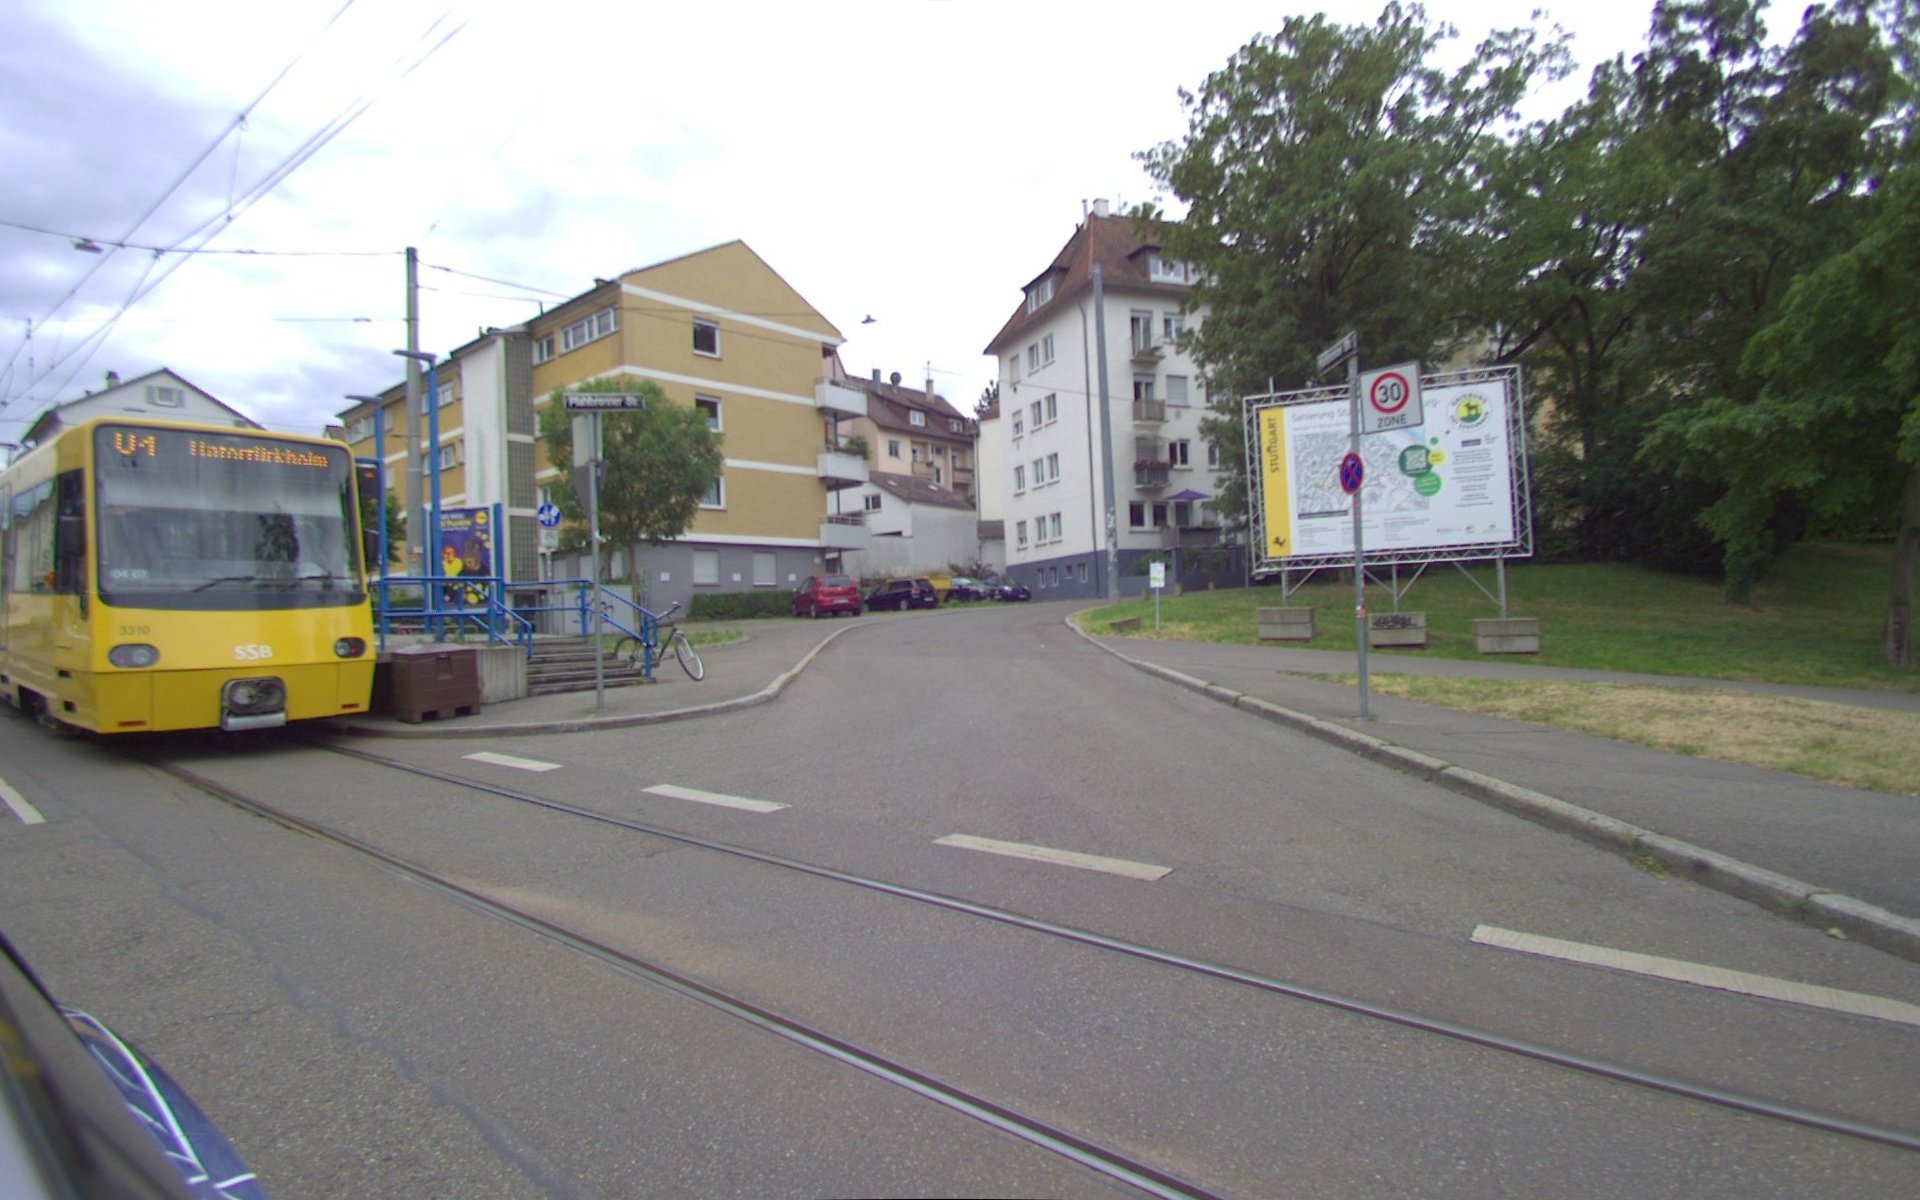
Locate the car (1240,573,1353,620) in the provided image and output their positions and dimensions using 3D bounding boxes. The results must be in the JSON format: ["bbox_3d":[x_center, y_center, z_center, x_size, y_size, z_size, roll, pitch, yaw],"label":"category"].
[{"bbox_3d":[13.002,-0.153,39.114,3.930,1.741,1.853,-1,0,-24],"label":"car"}]

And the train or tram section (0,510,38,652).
[{"bbox_3d":[-29.926,-0.455,29.723,12.122,3.664,2.723,0,0,41],"label":"train or tram section"}]

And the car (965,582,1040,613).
[{"bbox_3d":[2.103,-0.135,51.208,1.811,1.475,4.011,-1,0,-34],"label":"car"}]

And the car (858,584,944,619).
[{"bbox_3d":[-2.668,0.059,45.184,1.813,1.475,4.007,-1,0,-40],"label":"car"}]

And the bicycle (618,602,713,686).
[{"bbox_3d":[-4.468,0.635,15.323,1.487,1.190,0.704,0,0,41],"label":"bicycle"}]

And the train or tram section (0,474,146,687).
[{"bbox_3d":[-20.697,-0.304,21.763,12.122,3.664,2.795,0,0,41],"label":"train or tram section"}]

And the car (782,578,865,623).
[{"bbox_3d":[-4.843,0.009,35.506,1.810,1.475,4.013,-1,0,-24],"label":"car"}]

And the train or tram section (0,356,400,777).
[{"bbox_3d":[-11.565,-0.273,13.872,12.123,3.664,2.820,0,0,41],"label":"train or tram section"}]

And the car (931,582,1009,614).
[{"bbox_3d":[0.442,-0.112,49.108,1.811,1.475,4.011,-1,0,-34],"label":"car"}]
